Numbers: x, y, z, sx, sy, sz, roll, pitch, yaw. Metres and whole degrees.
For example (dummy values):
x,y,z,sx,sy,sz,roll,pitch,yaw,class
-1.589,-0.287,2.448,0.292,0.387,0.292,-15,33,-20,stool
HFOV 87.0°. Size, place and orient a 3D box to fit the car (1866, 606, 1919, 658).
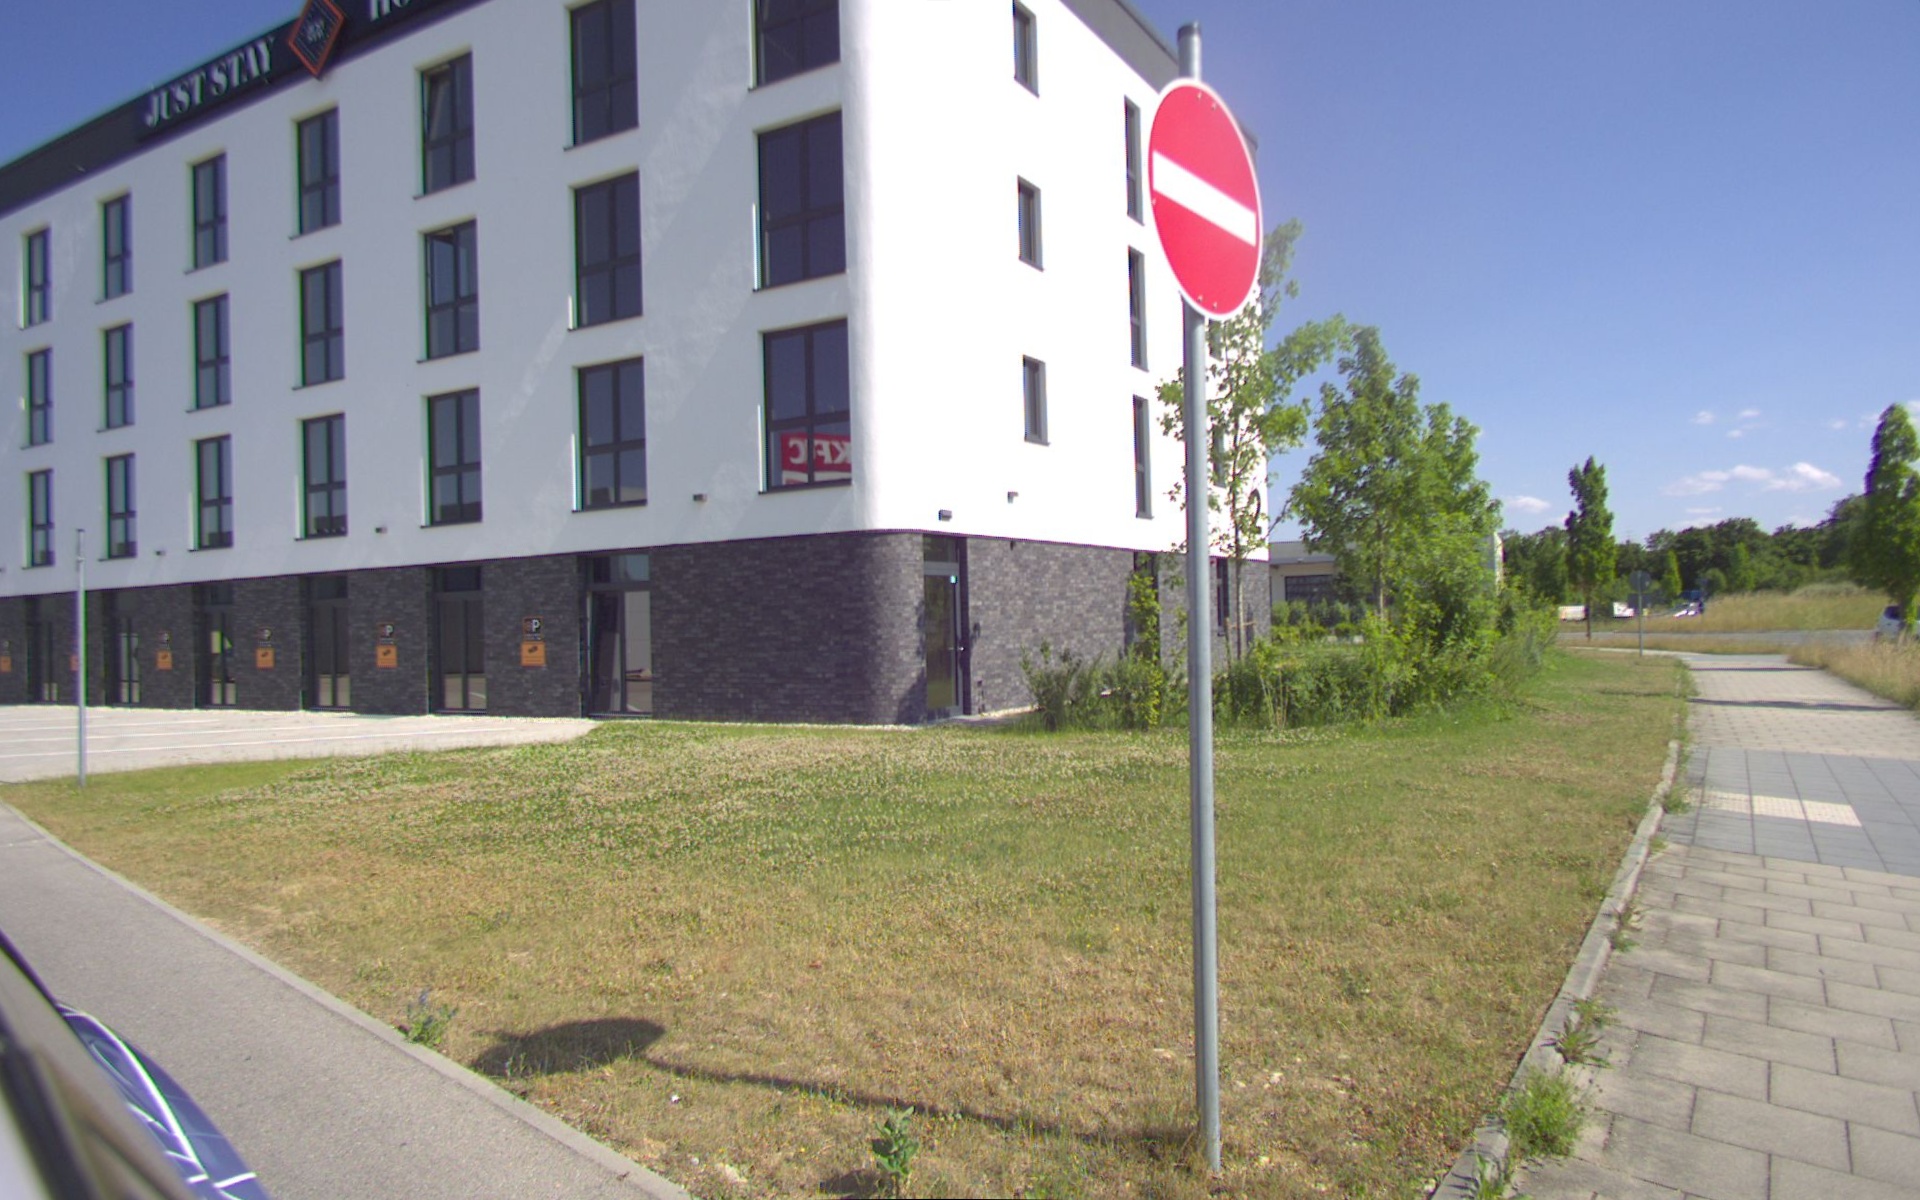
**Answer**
x,y,z,sx,sy,sz,roll,pitch,yaw,class
29.401,0.950,30.593,1.462,1.501,2.993,-4,-2,8,car
